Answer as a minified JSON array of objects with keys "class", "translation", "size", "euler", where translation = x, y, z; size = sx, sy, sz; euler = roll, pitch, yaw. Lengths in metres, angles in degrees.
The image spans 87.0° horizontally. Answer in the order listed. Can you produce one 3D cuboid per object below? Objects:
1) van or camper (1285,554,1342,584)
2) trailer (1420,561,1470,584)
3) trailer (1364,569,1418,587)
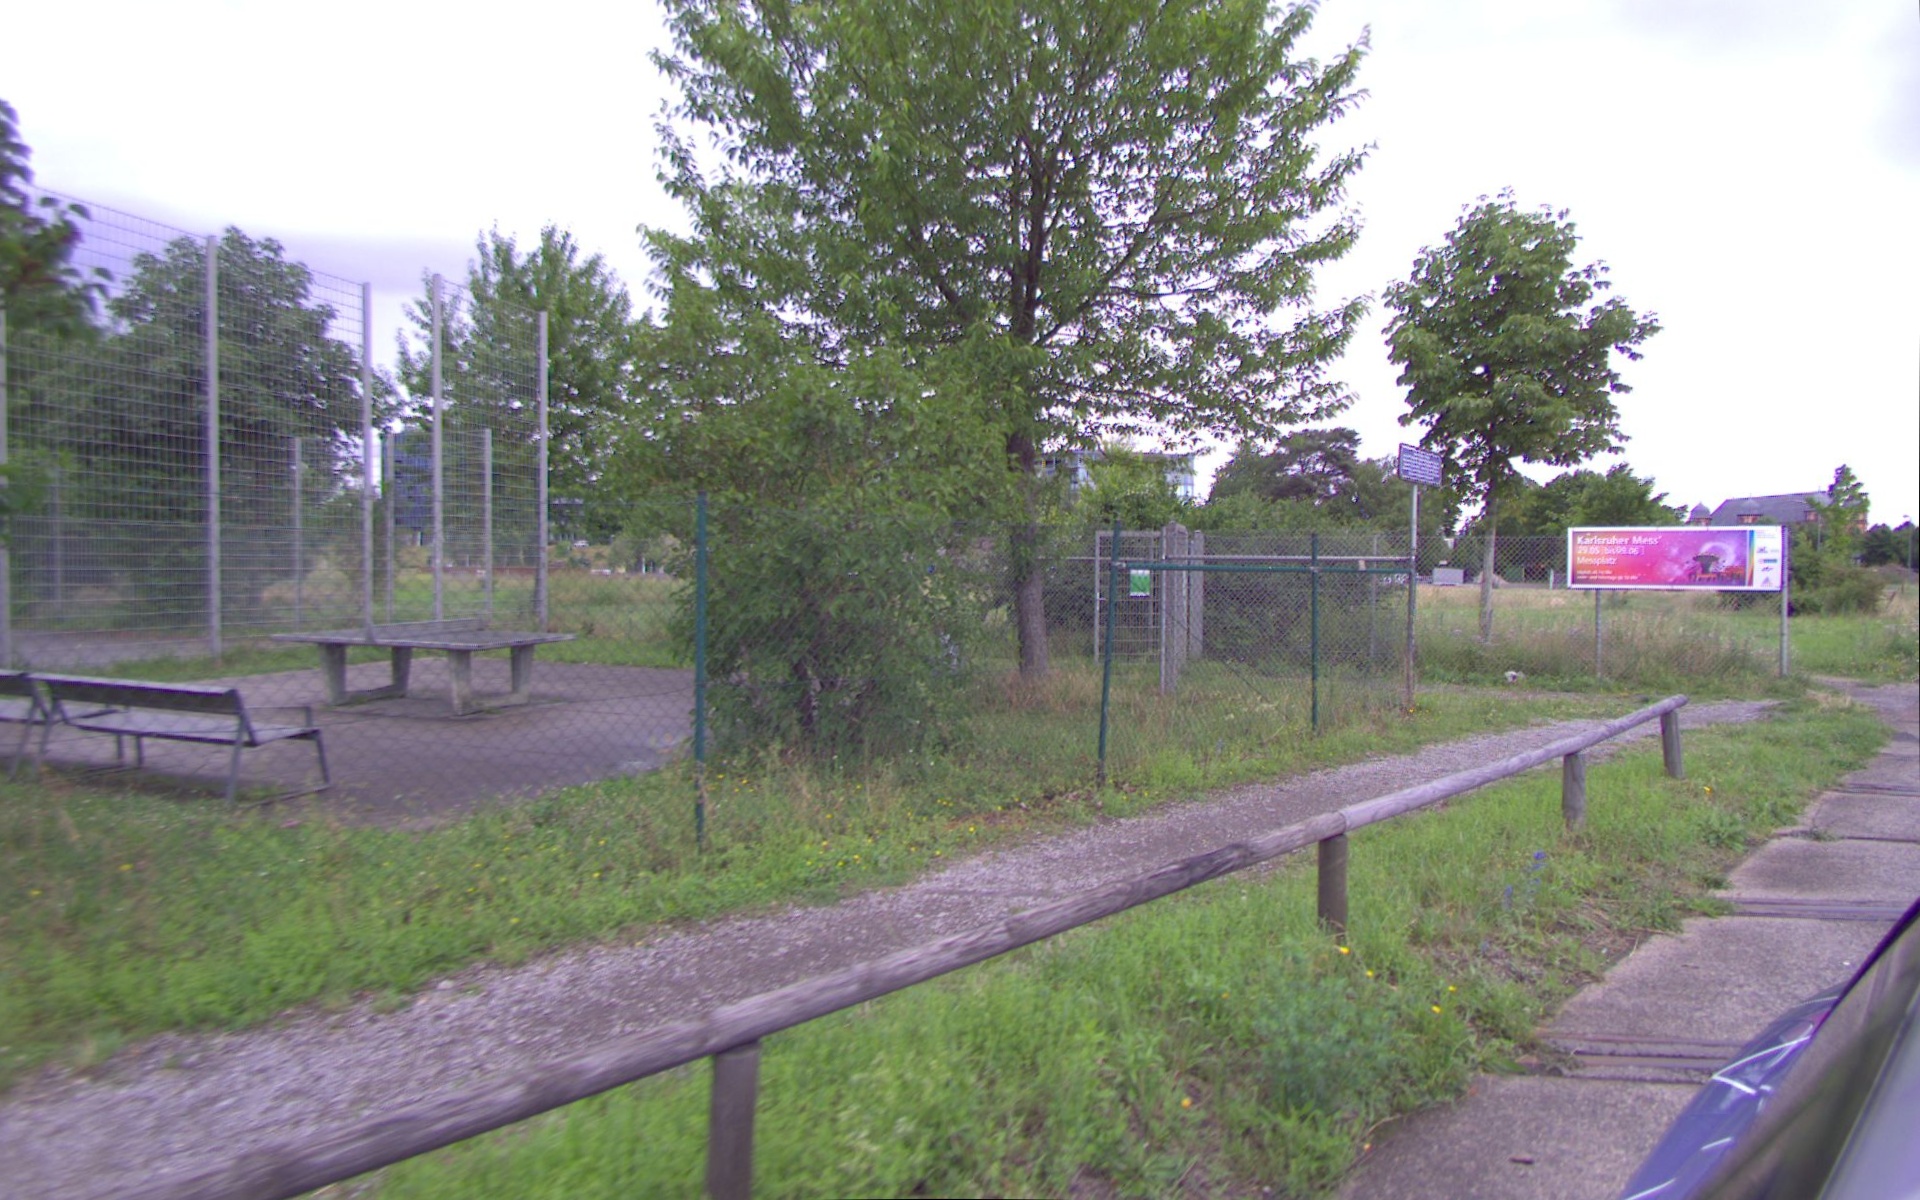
[{"class":"van or camper","translation":[34.013,-2.955,97.540],"size":[5.113,2.867,2.402],"euler":[1,1,19]},{"class":"trailer","translation":[45.147,-2.564,94.208],"size":[3.945,2.039,1.634],"euler":[0,1,18]},{"class":"trailer","translation":[37.185,-1.893,87.436],"size":[4.061,1.552,1.750],"euler":[0,1,16]}]
